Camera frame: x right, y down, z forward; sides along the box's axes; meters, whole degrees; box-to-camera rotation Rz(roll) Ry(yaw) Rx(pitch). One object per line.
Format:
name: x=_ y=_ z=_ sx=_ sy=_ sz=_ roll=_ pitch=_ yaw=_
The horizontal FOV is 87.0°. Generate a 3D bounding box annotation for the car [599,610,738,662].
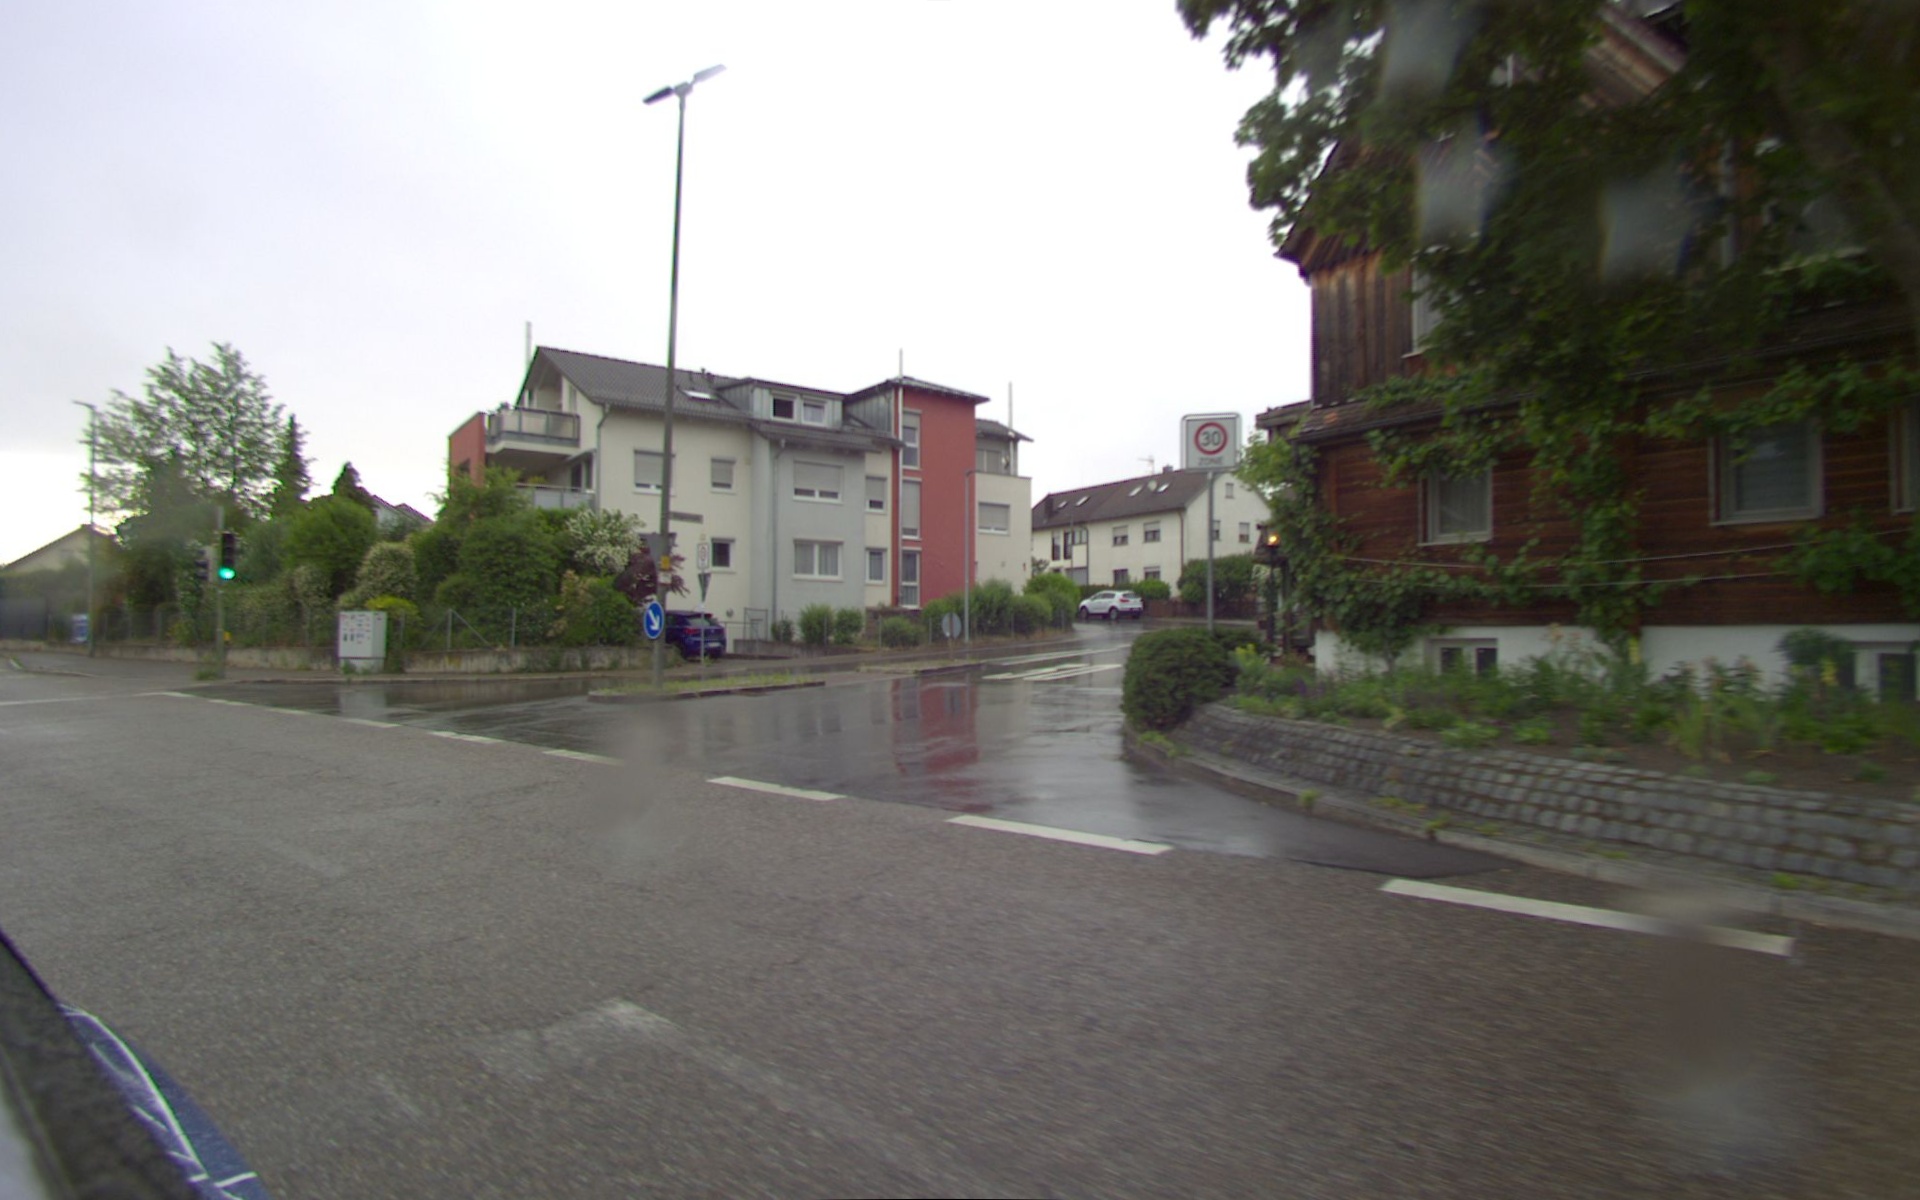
car: x=-8.418 y=1.029 z=29.212 sx=3.607 sy=1.432 sz=1.762 roll=-1 pitch=-2 yaw=26

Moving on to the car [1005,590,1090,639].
car: x=3.803 y=0.618 z=44.598 sx=1.910 sy=2.029 sz=3.845 roll=-1 pitch=-1 yaw=-28
